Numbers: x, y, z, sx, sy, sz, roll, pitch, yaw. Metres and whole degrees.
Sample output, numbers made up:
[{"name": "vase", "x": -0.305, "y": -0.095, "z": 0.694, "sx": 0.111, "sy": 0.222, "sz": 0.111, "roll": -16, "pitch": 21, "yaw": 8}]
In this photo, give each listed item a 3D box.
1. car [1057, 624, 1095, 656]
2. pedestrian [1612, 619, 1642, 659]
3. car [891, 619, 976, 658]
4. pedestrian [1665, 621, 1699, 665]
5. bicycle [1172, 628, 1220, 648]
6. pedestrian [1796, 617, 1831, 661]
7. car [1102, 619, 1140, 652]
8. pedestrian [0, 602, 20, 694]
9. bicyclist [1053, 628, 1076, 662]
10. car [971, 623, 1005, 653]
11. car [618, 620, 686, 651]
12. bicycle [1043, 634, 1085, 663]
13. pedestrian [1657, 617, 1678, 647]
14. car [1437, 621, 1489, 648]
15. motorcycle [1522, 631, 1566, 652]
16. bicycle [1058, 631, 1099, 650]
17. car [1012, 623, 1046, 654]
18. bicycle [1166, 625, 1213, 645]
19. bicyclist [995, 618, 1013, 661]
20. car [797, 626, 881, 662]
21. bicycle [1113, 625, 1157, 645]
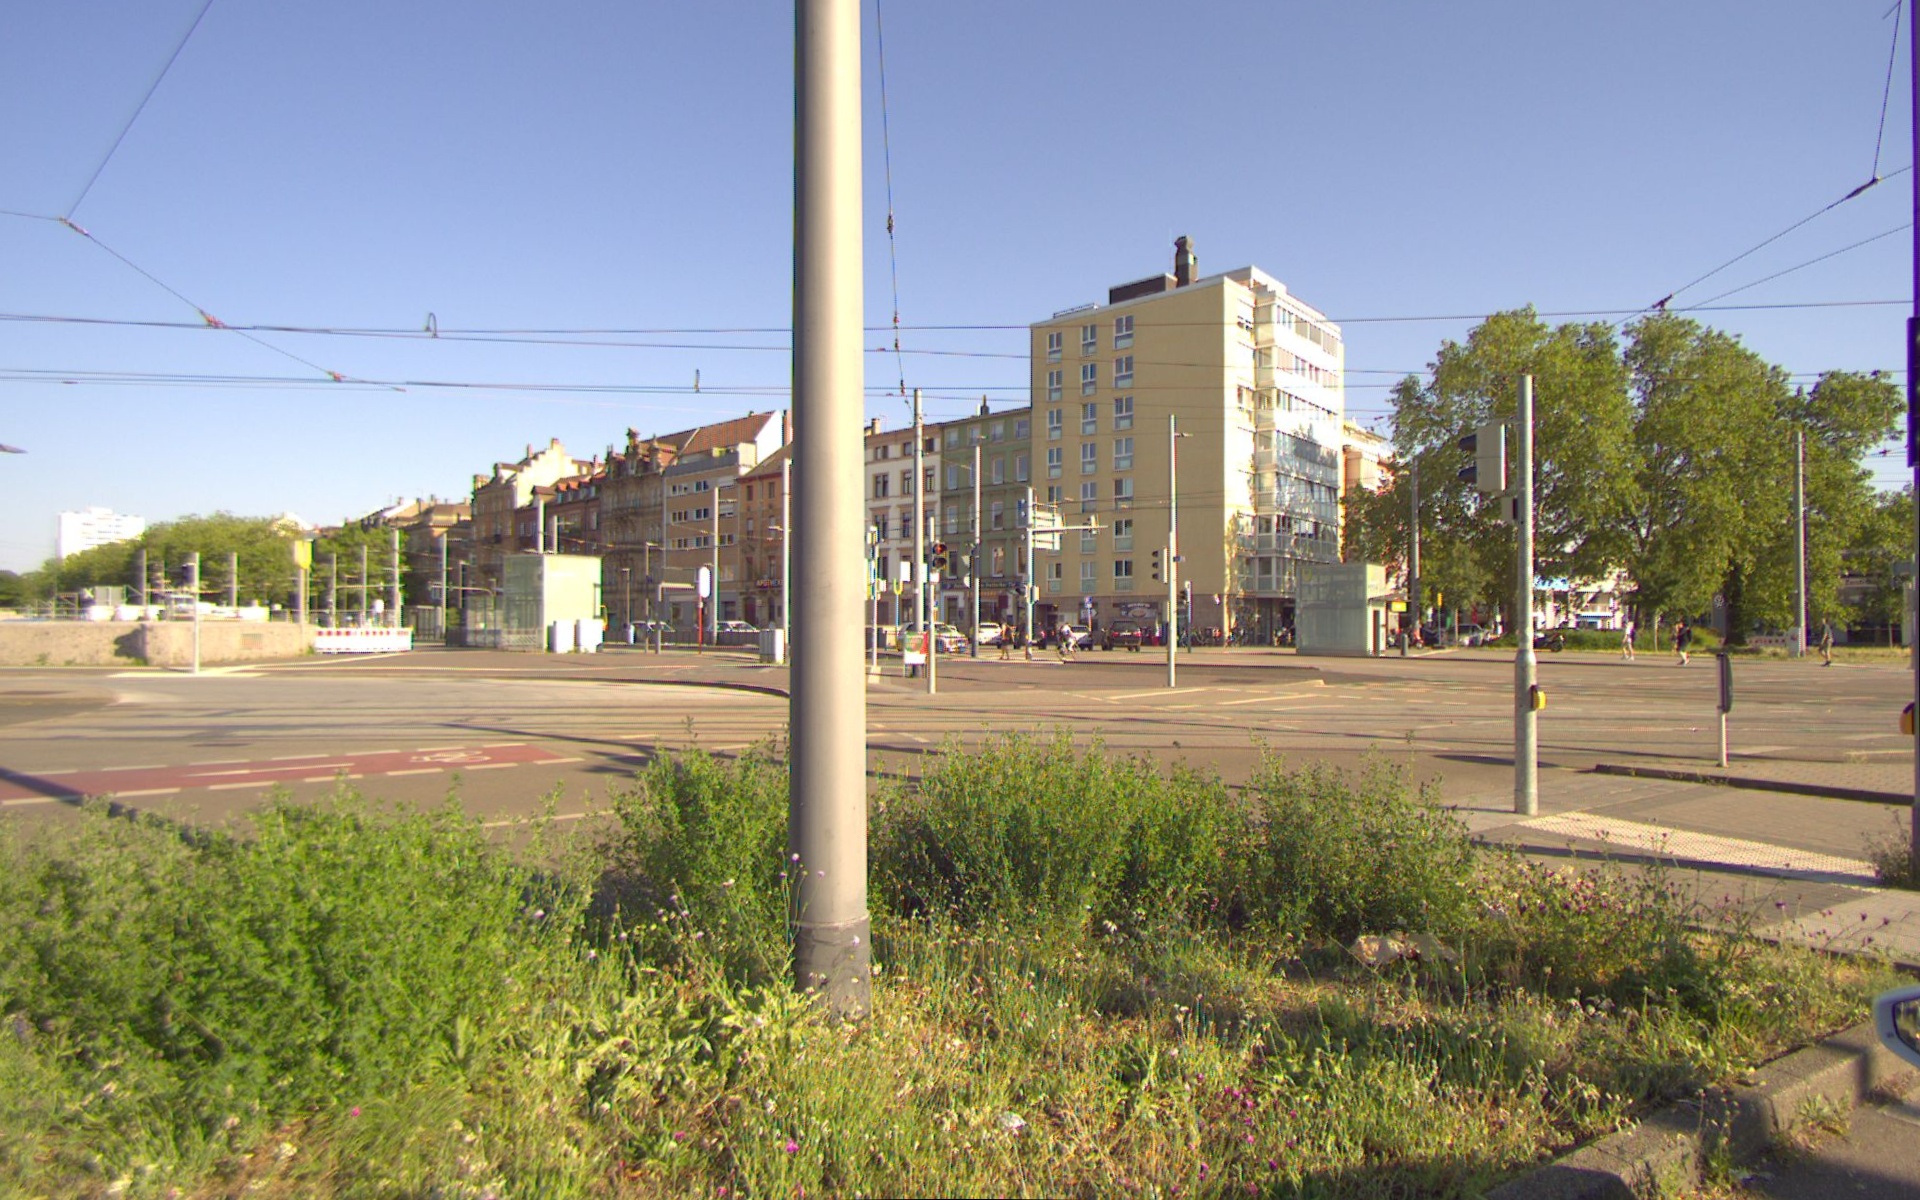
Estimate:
[{"name": "car", "x": 6.779, "y": 2.316, "z": 59.231, "sx": 1.960, "sy": 1.728, "sz": 4.001, "roll": 2, "pitch": 0, "yaw": 4}, {"name": "pedestrian", "x": 29.746, "y": 1.725, "z": 44.785, "sx": 0.747, "sy": 1.728, "sz": 0.793, "roll": 2, "pitch": 0, "yaw": -22}, {"name": "car", "x": -1.313, "y": 1.860, "z": 49.149, "sx": 3.939, "sy": 1.684, "sz": 1.778, "roll": 2, "pitch": 0, "yaw": 40}, {"name": "pedestrian", "x": 28.921, "y": 1.713, "z": 40.219, "sx": 0.747, "sy": 1.728, "sz": 0.793, "roll": 2, "pitch": 0, "yaw": -22}, {"name": "bicycle", "x": 14.939, "y": 2.396, "z": 63.645, "sx": 3.003, "sy": 1.167, "sz": 0.637, "roll": 1, "pitch": 0, "yaw": 44}, {"name": "pedestrian", "x": 34.871, "y": 1.594, "z": 41.038, "sx": 0.747, "sy": 1.728, "sz": 0.793, "roll": 2, "pitch": 0, "yaw": -22}, {"name": "car", "x": 9.170, "y": 1.973, "z": 57.459, "sx": 1.684, "sy": 1.728, "sz": 4.001, "roll": 2, "pitch": 0, "yaw": 4}, {"name": "pedestrian", "x": -18.380, "y": 0.890, "z": 18.574, "sx": 0.985, "sy": 1.706, "sz": 1.042, "roll": 2, "pitch": 0, "yaw": -6}, {"name": "bicyclist", "x": 4.240, "y": 1.816, "z": 40.763, "sx": 0.617, "sy": 1.368, "sz": 0.658, "roll": 2, "pitch": 0, "yaw": 44}, {"name": "car", "x": 1.824, "y": 2.380, "z": 63.863, "sx": 1.960, "sy": 1.728, "sz": 4.001, "roll": 2, "pitch": 0, "yaw": 4}, {"name": "car", "x": -20.240, "y": 2.304, "z": 65.978, "sx": 4.837, "sy": 1.849, "sz": 1.990, "roll": 2, "pitch": 0, "yaw": 41}, {"name": "bicycle", "x": 4.235, "y": 1.964, "z": 40.756, "sx": 0.617, "sy": 1.104, "sz": 1.914, "roll": 2, "pitch": 0, "yaw": 44}, {"name": "pedestrian", "x": 41.397, "y": 1.889, "z": 58.763, "sx": 0.491, "sy": 1.716, "sz": 0.852, "roll": 2, "pitch": 0, "yaw": -32}, {"name": "car", "x": 31.992, "y": 2.199, "z": 63.812, "sx": 3.973, "sy": 1.588, "sz": 1.753, "roll": 2, "pitch": 0, "yaw": -44}, {"name": "motorcycle", "x": 29.130, "y": 2.055, "z": 50.111, "sx": 1.753, "sy": 0.926, "sz": 0.676, "roll": 2, "pitch": 0, "yaw": 41}, {"name": "bicycle", "x": 8.105, "y": 2.784, "z": 68.926, "sx": 3.003, "sy": 1.167, "sz": 0.637, "roll": 1, "pitch": 0, "yaw": 44}, {"name": "car", "x": 4.218, "y": 2.307, "z": 61.464, "sx": 1.960, "sy": 1.728, "sz": 4.001, "roll": 2, "pitch": 0, "yaw": 4}, {"name": "bicycle", "x": 14.422, "y": 2.194, "z": 63.223, "sx": 3.003, "sy": 1.167, "sz": 0.637, "roll": 1, "pitch": 0, "yaw": 44}, {"name": "bicyclist", "x": 1.821, "y": 1.625, "z": 41.695, "sx": 0.653, "sy": 1.706, "sz": 0.980, "roll": 2, "pitch": 0, "yaw": 2}, {"name": "car", "x": -6.521, "y": 2.304, "z": 53.864, "sx": 4.650, "sy": 1.684, "sz": 1.777, "roll": 2, "pitch": 0, "yaw": 41}, {"name": "bicycle", "x": 11.513, "y": 2.308, "z": 66.129, "sx": 3.003, "sy": 1.167, "sz": 0.637, "roll": 1, "pitch": 0, "yaw": 44}]
